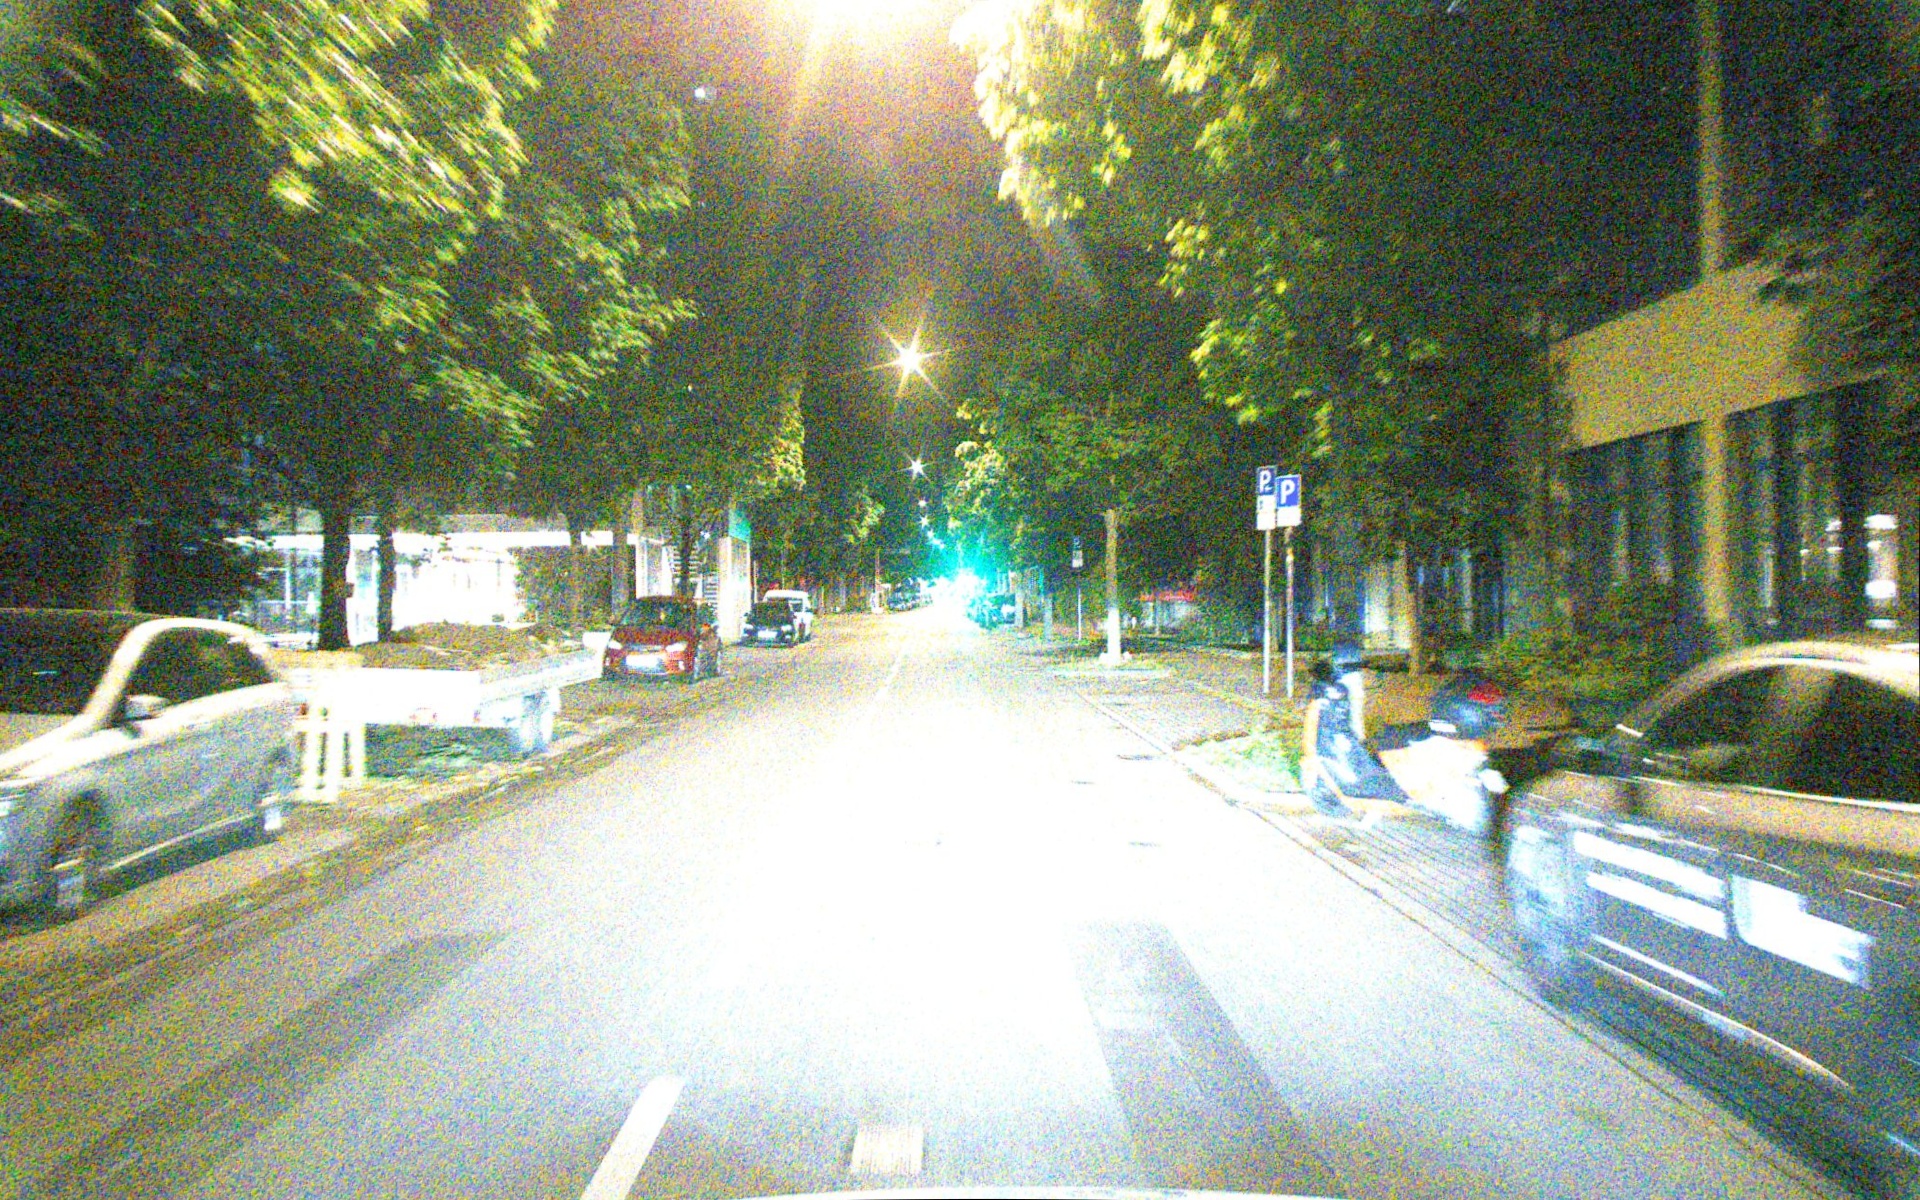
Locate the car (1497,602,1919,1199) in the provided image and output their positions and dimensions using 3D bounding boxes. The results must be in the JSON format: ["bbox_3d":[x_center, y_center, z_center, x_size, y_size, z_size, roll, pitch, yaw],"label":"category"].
[{"bbox_3d":[3.066,0.780,4.890,1.634,1.454,4.148,-3,0,1],"label":"car"}]

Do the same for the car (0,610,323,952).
[{"bbox_3d":[-5.402,0.866,9.796,1.682,1.528,4.204,2,0,-2],"label":"car"}]

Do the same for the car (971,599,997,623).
[{"bbox_3d":[1.635,0.728,112.406,1.559,1.561,4.137,-2,0,-1],"label":"car"}]

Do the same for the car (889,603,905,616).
[{"bbox_3d":[-6.948,1.044,183.255,1.705,1.440,3.751,0,0,-1],"label":"car"}]

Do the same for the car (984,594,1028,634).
[{"bbox_3d":[2.051,0.606,75.250,1.815,1.682,4.208,-2,0,0],"label":"car"}]

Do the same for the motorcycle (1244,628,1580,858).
[{"bbox_3d":[2.922,0.866,10.992,0.914,1.306,2.216,-2,0,-25],"label":"motorcycle"}]

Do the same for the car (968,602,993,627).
[{"bbox_3d":[1.255,0.900,103.252,1.489,1.420,3.984,-2,0,0],"label":"car"}]

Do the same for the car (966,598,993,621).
[{"bbox_3d":[1.372,0.662,119.944,1.815,1.618,4.299,-1,0,-1],"label":"car"}]

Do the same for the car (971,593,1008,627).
[{"bbox_3d":[1.669,0.572,95.567,1.736,1.838,4.275,-2,0,-3],"label":"car"}]

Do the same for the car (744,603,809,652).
[{"bbox_3d":[-6.005,0.877,54.519,1.665,1.458,3.828,2,0,0],"label":"car"}]

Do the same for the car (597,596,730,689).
[{"bbox_3d":[-5.750,0.780,32.514,1.785,1.626,4.073,2,0,0],"label":"car"}]

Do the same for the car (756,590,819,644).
[{"bbox_3d":[-6.301,0.593,60.834,1.785,1.843,4.210,2,0,0],"label":"car"}]

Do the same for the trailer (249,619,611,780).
[{"bbox_3d":[-5.386,0.935,17.745,2.067,1.358,5.435,2,0,0],"label":"trailer"}]

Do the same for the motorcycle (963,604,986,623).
[{"bbox_3d":[1.025,0.966,116.400,0.625,1.292,2.058,-1,0,34],"label":"motorcycle"}]

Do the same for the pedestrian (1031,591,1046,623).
[{"bbox_3d":[4.388,0.387,92.601,0.691,1.752,0.821,-2,0,-1],"label":"pedestrian"}]
